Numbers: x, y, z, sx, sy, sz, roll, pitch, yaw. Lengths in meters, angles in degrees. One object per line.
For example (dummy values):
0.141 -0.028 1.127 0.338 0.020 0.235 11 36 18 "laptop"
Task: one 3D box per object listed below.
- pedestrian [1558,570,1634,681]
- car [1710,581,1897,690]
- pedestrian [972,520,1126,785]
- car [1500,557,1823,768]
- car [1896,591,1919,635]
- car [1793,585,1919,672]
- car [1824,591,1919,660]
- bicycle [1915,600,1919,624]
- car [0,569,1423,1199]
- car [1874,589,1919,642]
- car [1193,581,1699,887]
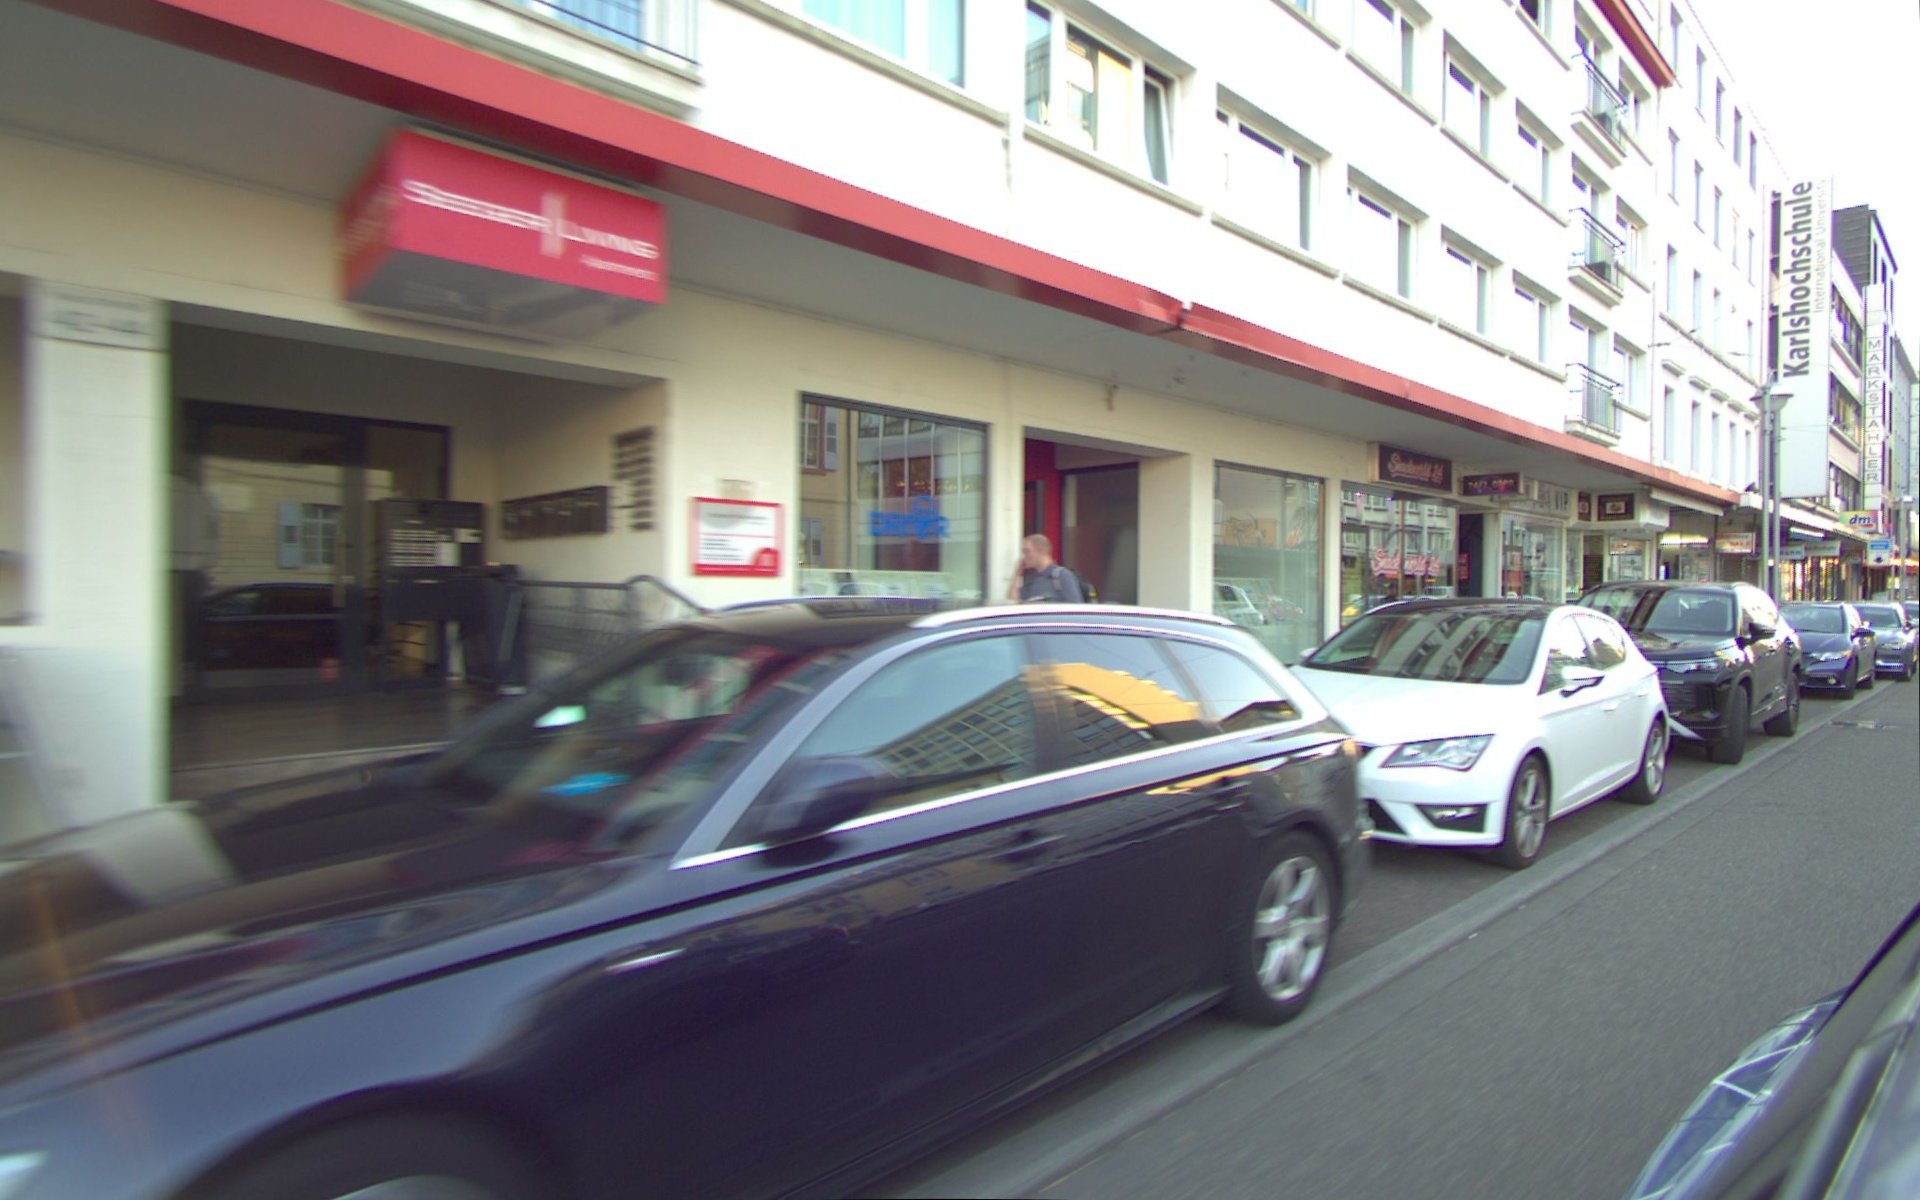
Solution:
9.476 0.357 15.080 0.950 1.593 0.734 0 0 -43 "pedestrian"
13.822 0.512 16.500 4.282 1.542 1.783 0 -1 -43 "car"
0.695 0.361 7.865 0.919 1.904 0.775 -1 1 -44 "pedestrian"
7.374 0.496 10.456 4.344 1.722 1.857 -1 0 -43 "car"
34.323 0.432 35.662 3.955 1.481 1.656 -1 0 -43 "car"
18.373 0.503 20.475 4.776 1.552 1.793 -1 0 -44 "car"
22.190 0.559 24.288 3.932 1.500 1.728 -1 0 -43 "car"
40.845 0.563 41.958 0.566 0.984 1.796 0 3 -45 "bicycle"
-0.457 0.666 3.099 4.609 1.431 1.791 -1 0 -43 "car"
29.300 0.430 30.852 4.003 1.532 1.767 -1 0 -43 "car"
3.462 0.618 6.805 4.120 1.439 1.653 -1 0 -43 "car"
